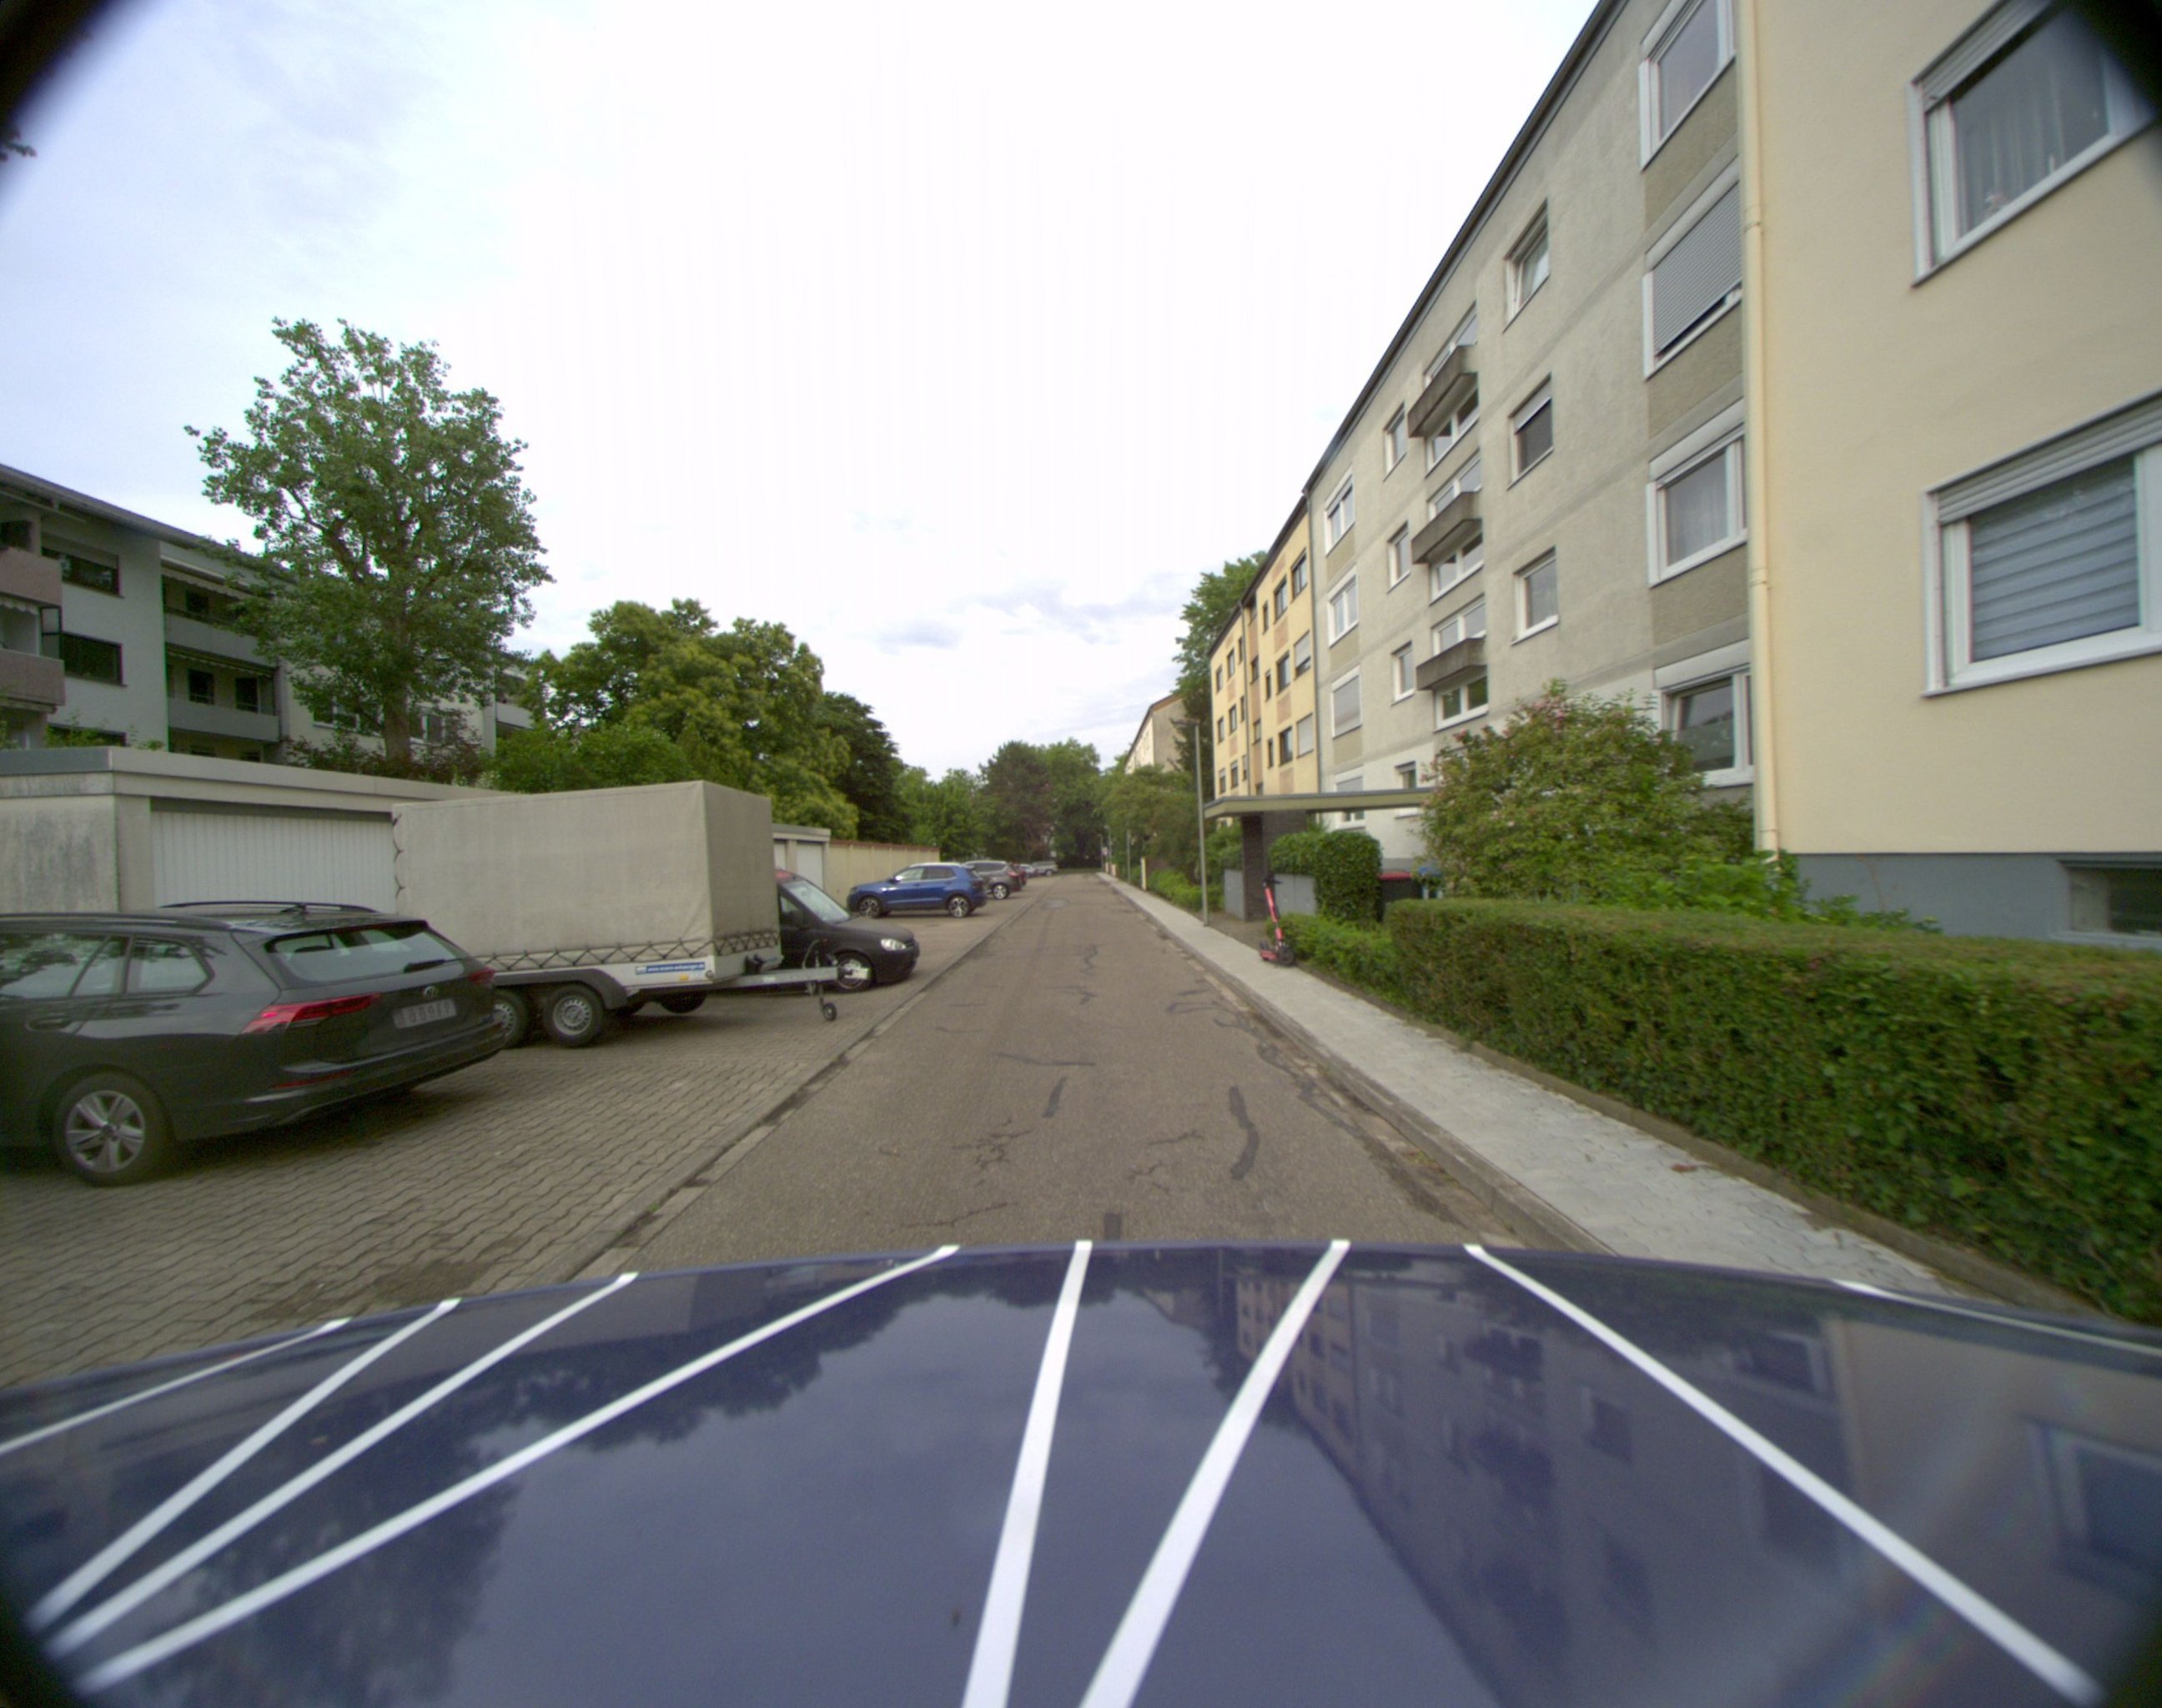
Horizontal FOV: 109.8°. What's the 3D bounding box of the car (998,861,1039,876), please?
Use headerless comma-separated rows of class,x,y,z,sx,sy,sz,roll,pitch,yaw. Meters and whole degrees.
car,-6.596,1.562,80.489,4.104,1.476,1.787,-1,0,-1

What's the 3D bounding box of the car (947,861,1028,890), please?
car,-5.212,1.198,42.820,4.299,1.576,1.935,0,0,-1

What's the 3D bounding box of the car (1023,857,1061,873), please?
car,-4.367,1.213,85.583,4.104,1.636,1.787,-1,0,-1

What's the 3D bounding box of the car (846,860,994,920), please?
car,-4.742,1.046,22.848,3.997,1.693,2.000,0,0,-1

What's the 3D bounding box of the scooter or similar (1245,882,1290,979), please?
scooter or similar,2.520,1.001,10.321,0.273,1.203,1.164,-2,0,-1

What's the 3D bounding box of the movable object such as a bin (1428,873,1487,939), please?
movable object such as a bin,6.176,0.839,12.497,0.625,1.028,0.665,-2,0,0

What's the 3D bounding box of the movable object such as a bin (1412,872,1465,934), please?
movable object such as a bin,6.174,0.840,13.145,0.625,1.028,0.589,-2,0,0

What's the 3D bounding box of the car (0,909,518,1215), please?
car,-6.210,1.173,4.745,4.138,1.440,1.612,-2,0,0

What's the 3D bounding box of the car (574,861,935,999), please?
car,-4.462,1.009,10.940,4.322,1.791,2.000,0,0,-1

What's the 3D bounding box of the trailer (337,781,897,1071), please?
trailer,-4.546,0.679,8.028,4.621,2.510,1.943,-2,0,0

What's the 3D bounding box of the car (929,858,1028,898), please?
car,-4.569,1.059,34.406,4.206,1.717,2.000,0,0,-1

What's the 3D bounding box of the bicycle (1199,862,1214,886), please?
bicycle,5.706,0.918,34.599,0.315,1.045,1.692,-1,-2,-1

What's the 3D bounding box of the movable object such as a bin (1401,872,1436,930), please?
movable object such as a bin,6.160,0.855,13.889,0.536,1.013,0.581,-2,0,21
